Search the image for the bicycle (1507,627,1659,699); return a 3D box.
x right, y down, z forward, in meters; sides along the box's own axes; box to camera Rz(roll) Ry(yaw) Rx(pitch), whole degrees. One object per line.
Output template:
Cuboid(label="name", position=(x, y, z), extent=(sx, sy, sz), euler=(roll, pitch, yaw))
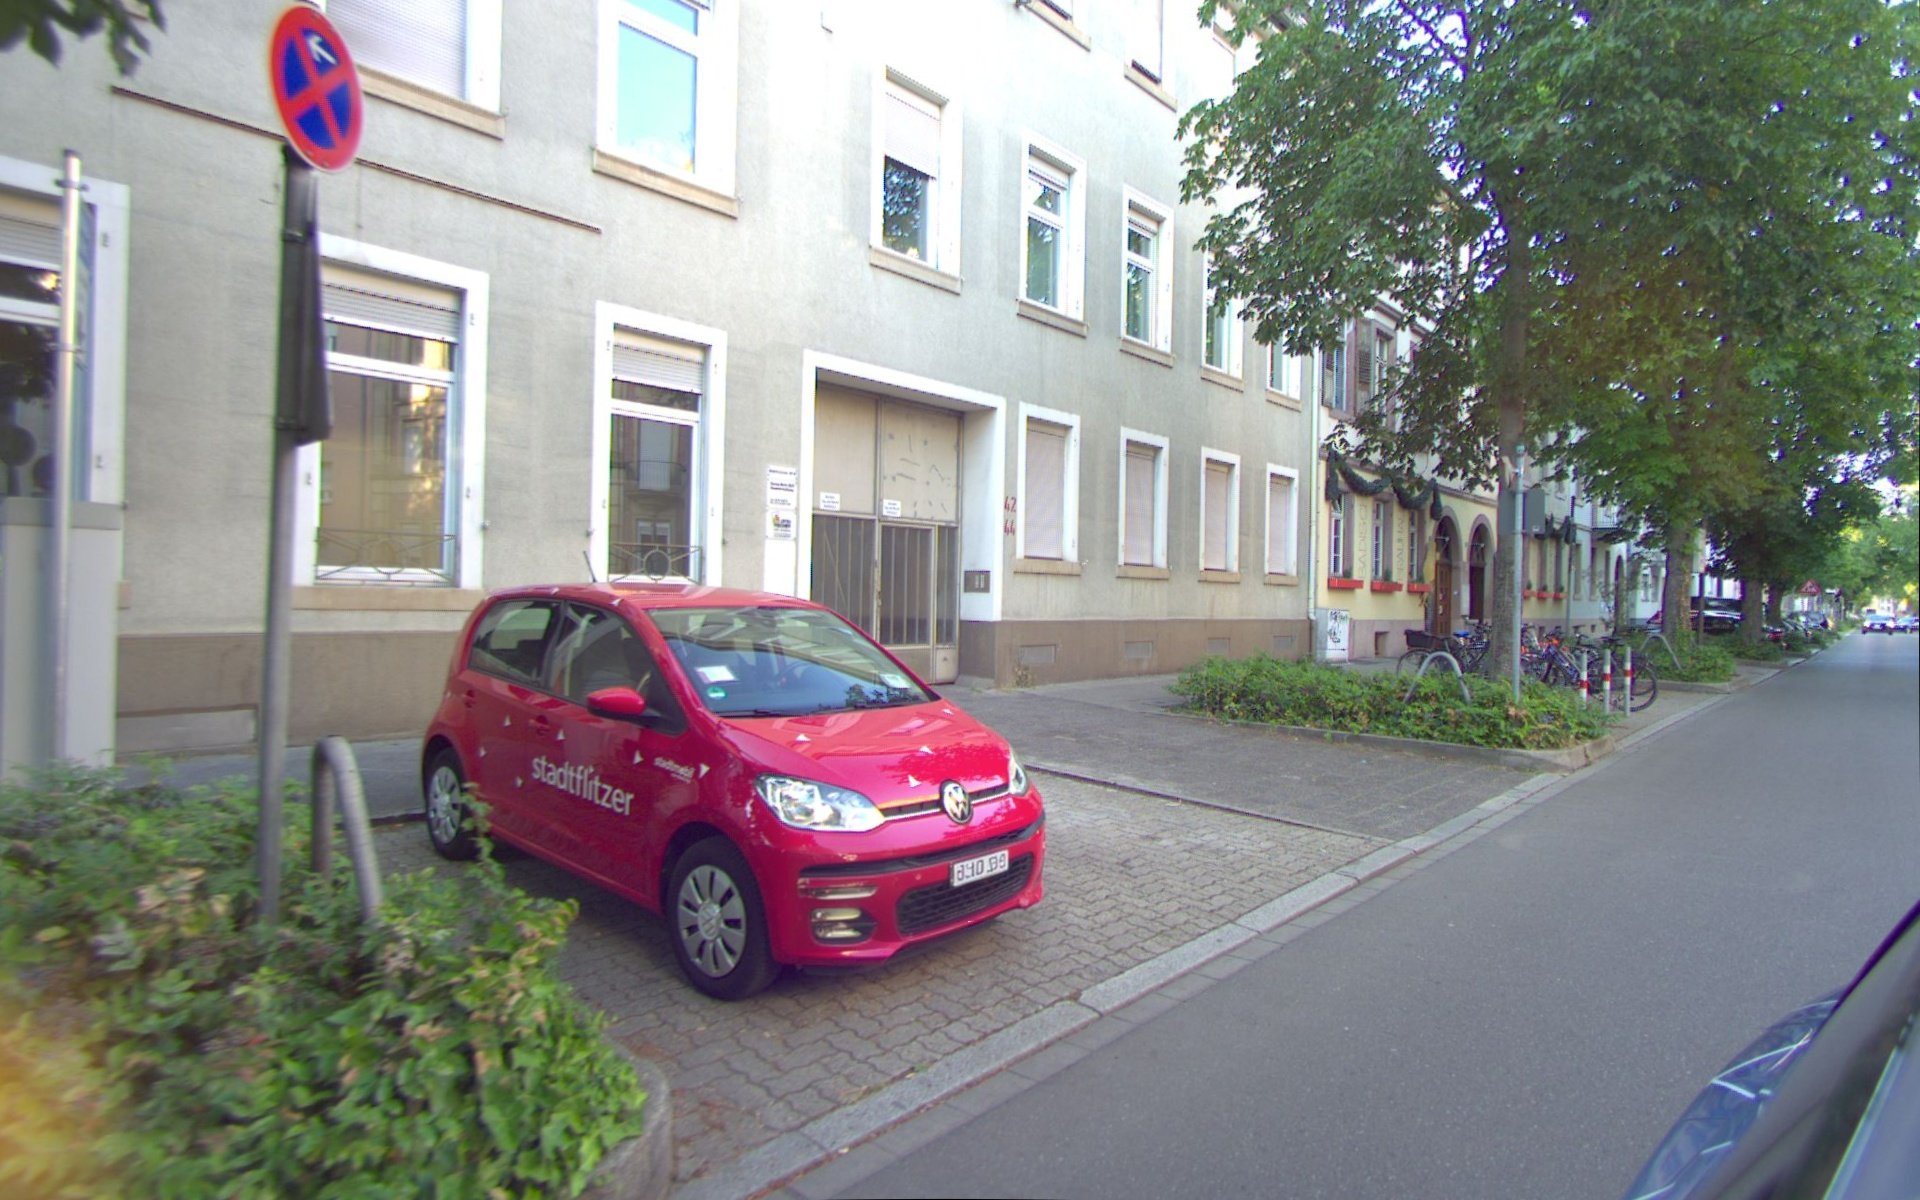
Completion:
Cuboid(label="bicycle", position=(9.949, 0.978, 16.227), extent=(2.035, 1.016, 0.415), euler=(2, 0, 43))

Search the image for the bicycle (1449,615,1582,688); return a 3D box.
Cuboid(label="bicycle", position=(9.858, 0.883, 18.024), extent=(2.035, 1.160, 0.415), euler=(2, 0, 43))

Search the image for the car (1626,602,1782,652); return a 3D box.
Cuboid(label="car", position=(27.342, 0.967, 37.305), extent=(1.748, 1.633, 4.434), euler=(1, 0, -45))

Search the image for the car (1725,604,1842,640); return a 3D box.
Cuboid(label="car", position=(41.550, 1.086, 51.155), extent=(1.748, 1.633, 4.434), euler=(1, 0, -45))

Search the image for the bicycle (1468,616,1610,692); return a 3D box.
Cuboid(label="bicycle", position=(9.772, 0.879, 17.133), extent=(2.035, 1.160, 0.415), euler=(2, 0, 43))

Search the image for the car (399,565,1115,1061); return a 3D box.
Cuboid(label="car", position=(-1.222, 0.621, 4.934), extent=(3.654, 1.494, 1.542), euler=(3, 1, 42))

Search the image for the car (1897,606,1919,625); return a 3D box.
Cuboid(label="car", position=(84.378, 1.387, 88.196), extent=(3.939, 1.551, 1.779), euler=(1, 0, -7))

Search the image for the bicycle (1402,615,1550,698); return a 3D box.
Cuboid(label="bicycle", position=(8.042, 0.847, 15.862), extent=(0.439, 1.160, 2.038), euler=(1, 0, -42))

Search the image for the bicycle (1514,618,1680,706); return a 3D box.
Cuboid(label="bicycle", position=(9.447, 0.892, 15.080), extent=(2.036, 1.160, 0.439), euler=(2, 0, 45))

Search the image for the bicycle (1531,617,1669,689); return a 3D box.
Cuboid(label="bicycle", position=(11.358, 0.912, 18.019), extent=(2.035, 1.160, 0.415), euler=(2, 0, 43))

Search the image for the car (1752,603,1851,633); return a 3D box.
Cuboid(label="car", position=(50.512, 1.057, 60.821), extent=(1.748, 1.633, 4.434), euler=(1, 0, -45))

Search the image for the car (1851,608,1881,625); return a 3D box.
Cuboid(label="car", position=(75.004, 1.353, 83.765), extent=(1.822, 1.390, 3.937), euler=(1, 0, 43))

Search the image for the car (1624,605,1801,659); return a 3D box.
Cuboid(label="car", position=(24.367, 0.986, 32.881), extent=(1.748, 1.524, 4.434), euler=(1, 0, -45))

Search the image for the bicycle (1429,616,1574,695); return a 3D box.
Cuboid(label="bicycle", position=(8.761, 0.867, 16.452), extent=(2.035, 1.160, 0.415), euler=(2, 0, 43))

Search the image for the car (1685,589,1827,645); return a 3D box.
Cuboid(label="car", position=(32.681, 0.651, 41.632), extent=(1.747, 2.150, 4.434), euler=(1, 0, -45))
